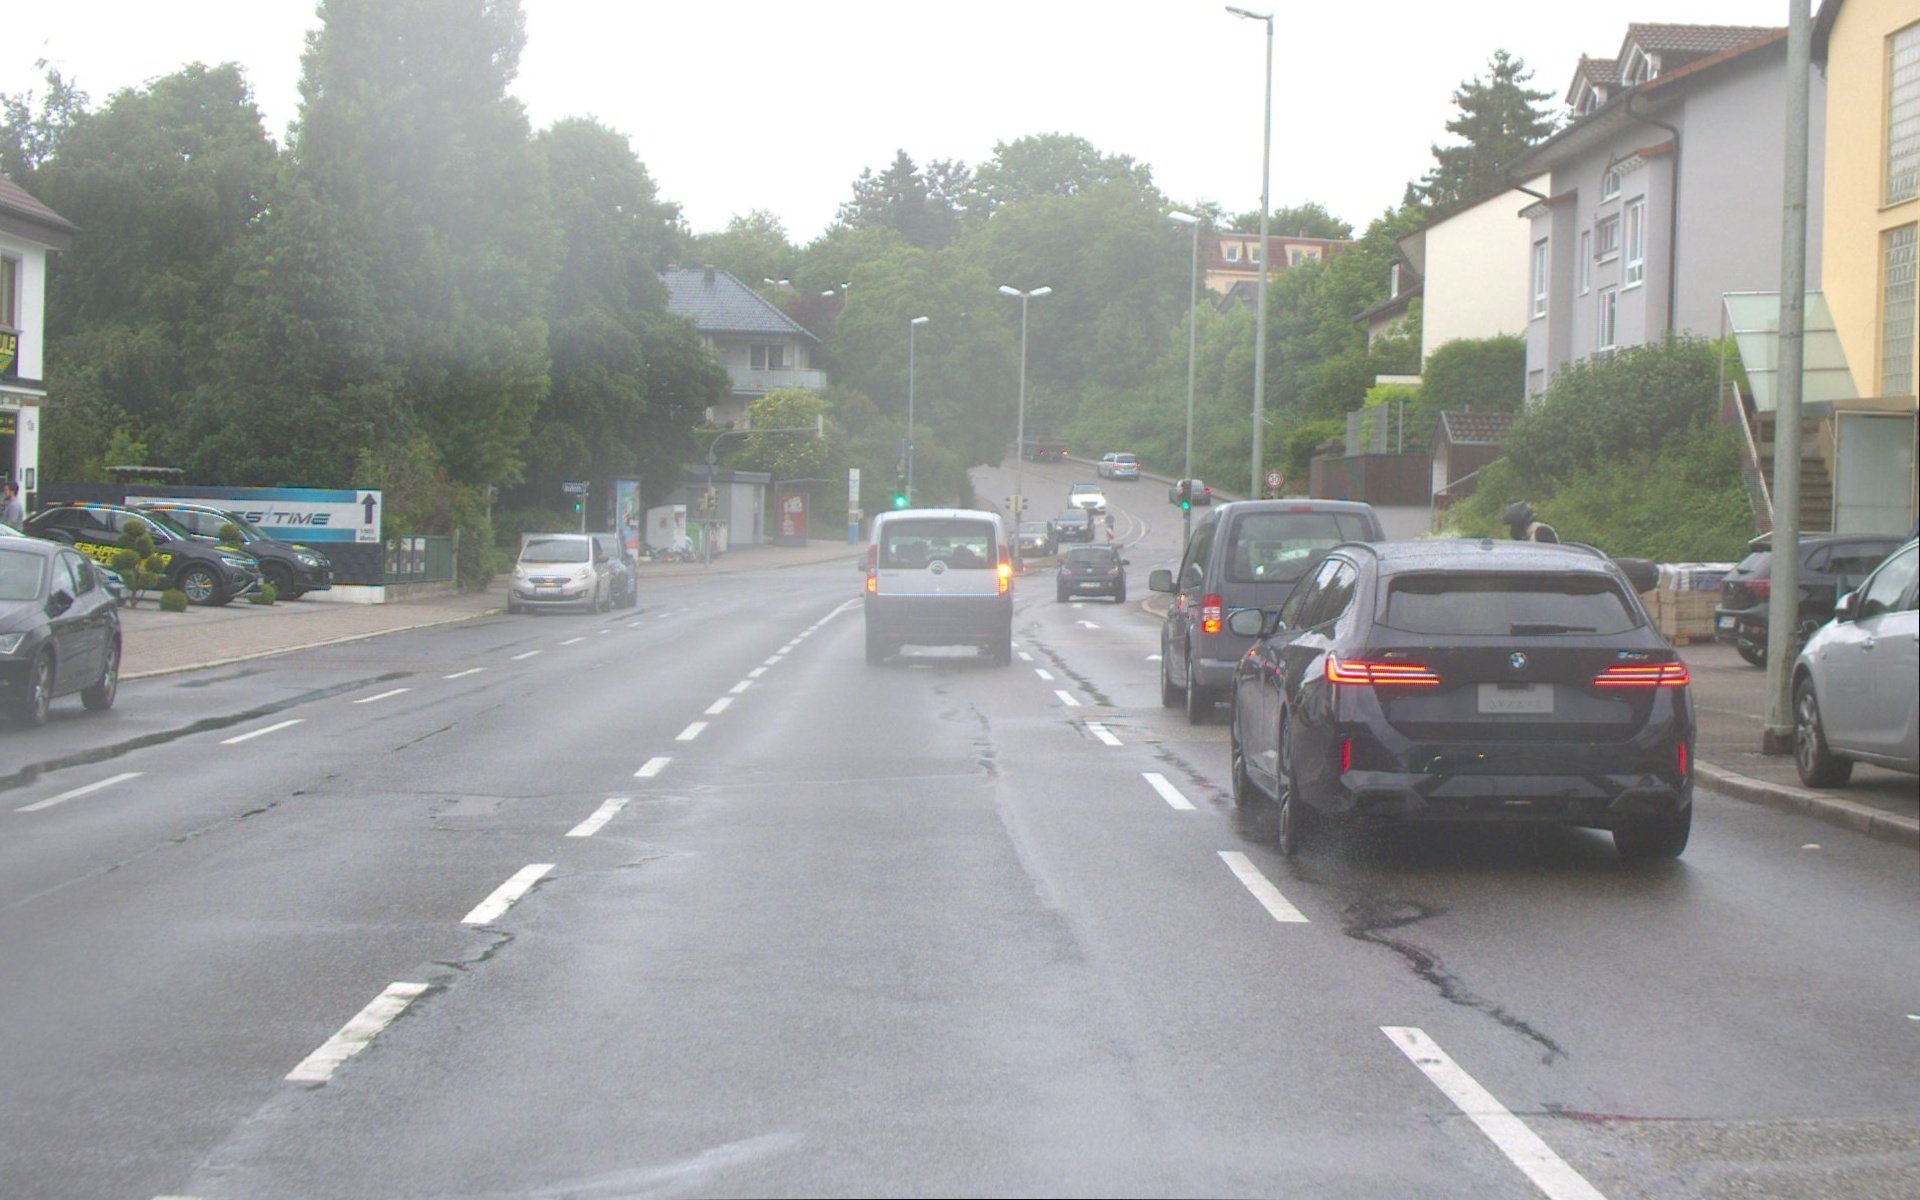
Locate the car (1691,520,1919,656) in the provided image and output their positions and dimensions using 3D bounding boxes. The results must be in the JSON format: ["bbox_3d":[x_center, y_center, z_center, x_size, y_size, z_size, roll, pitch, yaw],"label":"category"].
[{"bbox_3d":[10.131,-0.144,37.250,3.986,1.428,1.869,0,1,-2],"label":"car"}]

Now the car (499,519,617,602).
[{"bbox_3d":[-8.067,-0.807,69.259,1.884,1.579,4.000,1,1,0],"label":"car"}]

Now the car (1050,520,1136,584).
[{"bbox_3d":[3.398,-1.254,88.352,1.993,1.573,4.001,0,2,-1],"label":"car"}]

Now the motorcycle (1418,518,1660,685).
[{"bbox_3d":[5.258,0.002,31.191,2.084,1.445,0.758,1,1,15],"label":"motorcycle"}]

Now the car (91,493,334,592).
[{"bbox_3d":[-14.036,-1.086,64.705,4.072,1.511,1.856,5,1,0],"label":"car"}]

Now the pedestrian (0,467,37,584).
[{"bbox_3d":[-14.850,-1.166,53.752,0.600,1.784,0.650,4,1,-6],"label":"pedestrian"}]

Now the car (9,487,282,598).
[{"bbox_3d":[-13.712,-0.963,58.043,4.072,1.511,1.856,5,1,0],"label":"car"}]

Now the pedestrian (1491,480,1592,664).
[{"bbox_3d":[5.275,-0.258,31.184,0.830,1.644,0.622,1,1,14],"label":"pedestrian"}]

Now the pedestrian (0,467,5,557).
[{"bbox_3d":[-15.540,-1.286,54.281,0.600,1.660,0.650,4,1,8],"label":"pedestrian"}]

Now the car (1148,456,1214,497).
[{"bbox_3d":[12.377,-6.927,192.720,2.521,2.006,5.610,1,4,-8],"label":"car"}]

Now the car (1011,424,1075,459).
[{"bbox_3d":[5.466,-10.471,227.314,2.521,2.006,5.611,1,5,-18],"label":"car"}]

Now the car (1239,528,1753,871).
[{"bbox_3d":[2.526,0.405,17.176,1.993,1.478,4.000,1,1,1],"label":"car"}]

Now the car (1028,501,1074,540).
[{"bbox_3d":[4.246,-3.724,160.506,1.993,1.766,4.000,0,1,0],"label":"car"}]

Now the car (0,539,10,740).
[{"bbox_3d":[-7.459,0.300,22.577,1.551,1.426,4.015,1,1,-4],"label":"car"}]

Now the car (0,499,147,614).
[{"bbox_3d":[-13.618,-0.655,47.975,4.072,1.511,1.856,2,1,0],"label":"car"}]

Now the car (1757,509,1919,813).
[{"bbox_3d":[5.605,0.299,18.049,1.700,1.505,4.535,1,1,-1],"label":"car"}]

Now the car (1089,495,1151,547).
[{"bbox_3d":[7.152,-3.567,154.278,2.521,2.006,5.609,2,4,1],"label":"car"}]

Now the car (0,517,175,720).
[{"bbox_3d":[-7.661,0.091,28.100,1.757,1.527,4.210,1,1,-4],"label":"car"}]

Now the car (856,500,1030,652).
[{"bbox_3d":[-0.198,-0.311,42.001,1.993,1.731,4.000,1,1,0],"label":"car"}]

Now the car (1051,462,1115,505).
[{"bbox_3d":[6.650,-6.303,186.052,2.521,2.006,5.611,1,4,-7],"label":"car"}]

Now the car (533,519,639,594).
[{"bbox_3d":[-8.227,-0.960,75.878,1.884,1.579,4.000,1,1,0],"label":"car"}]

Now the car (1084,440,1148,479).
[{"bbox_3d":[9.583,-8.667,212.116,2.521,2.006,5.611,1,5,-12],"label":"car"}]

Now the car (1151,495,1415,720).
[{"bbox_3d":[2.675,0.026,29.313,1.838,1.761,4.000,1,1,0],"label":"car"}]
